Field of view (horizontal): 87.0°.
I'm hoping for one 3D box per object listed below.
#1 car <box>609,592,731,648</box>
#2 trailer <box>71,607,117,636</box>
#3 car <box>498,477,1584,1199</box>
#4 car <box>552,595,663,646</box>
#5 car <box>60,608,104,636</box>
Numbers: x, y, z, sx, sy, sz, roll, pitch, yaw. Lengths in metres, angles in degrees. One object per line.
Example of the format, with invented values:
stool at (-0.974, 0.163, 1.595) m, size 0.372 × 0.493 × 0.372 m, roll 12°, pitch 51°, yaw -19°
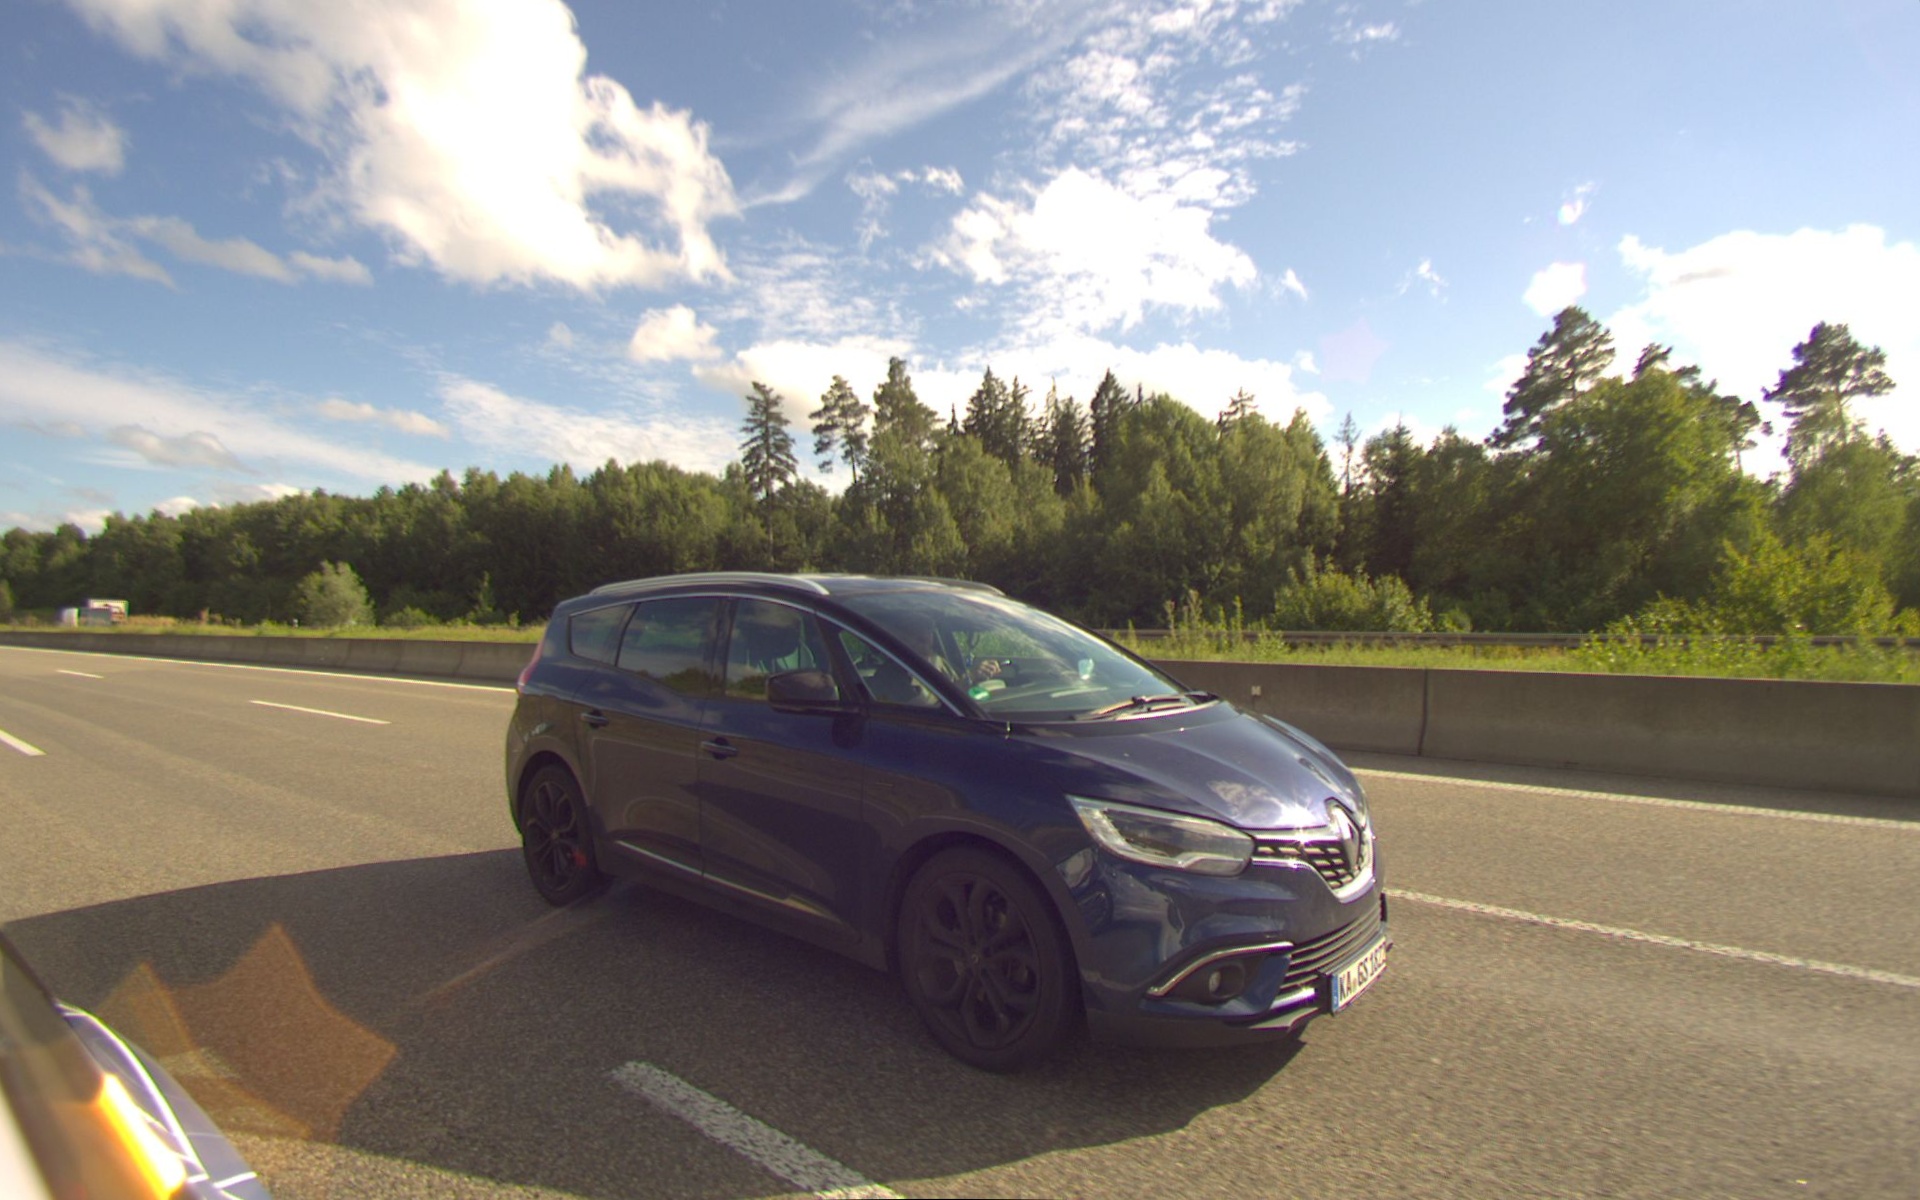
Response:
car at (-11.387, 0.775, 39.569) m, size 5.383 × 2.029 × 1.973 m, roll -1°, pitch -1°, yaw 41°
trailer at (-82.701, 2.062, 96.635) m, size 5.555 × 2.704 × 2.248 m, roll -1°, pitch -1°, yaw 38°
car at (-0.036, 0.605, 4.503) m, size 4.527 × 1.719 × 1.973 m, roll -1°, pitch 0°, yaw 41°
car at (-14.902, 0.860, 42.621) m, size 5.383 × 2.029 × 1.973 m, roll -1°, pitch -1°, yaw 41°
car at (-86.390, 2.141, 99.540) m, size 5.880 × 2.704 × 2.248 m, roll -1°, pitch -1°, yaw 38°
